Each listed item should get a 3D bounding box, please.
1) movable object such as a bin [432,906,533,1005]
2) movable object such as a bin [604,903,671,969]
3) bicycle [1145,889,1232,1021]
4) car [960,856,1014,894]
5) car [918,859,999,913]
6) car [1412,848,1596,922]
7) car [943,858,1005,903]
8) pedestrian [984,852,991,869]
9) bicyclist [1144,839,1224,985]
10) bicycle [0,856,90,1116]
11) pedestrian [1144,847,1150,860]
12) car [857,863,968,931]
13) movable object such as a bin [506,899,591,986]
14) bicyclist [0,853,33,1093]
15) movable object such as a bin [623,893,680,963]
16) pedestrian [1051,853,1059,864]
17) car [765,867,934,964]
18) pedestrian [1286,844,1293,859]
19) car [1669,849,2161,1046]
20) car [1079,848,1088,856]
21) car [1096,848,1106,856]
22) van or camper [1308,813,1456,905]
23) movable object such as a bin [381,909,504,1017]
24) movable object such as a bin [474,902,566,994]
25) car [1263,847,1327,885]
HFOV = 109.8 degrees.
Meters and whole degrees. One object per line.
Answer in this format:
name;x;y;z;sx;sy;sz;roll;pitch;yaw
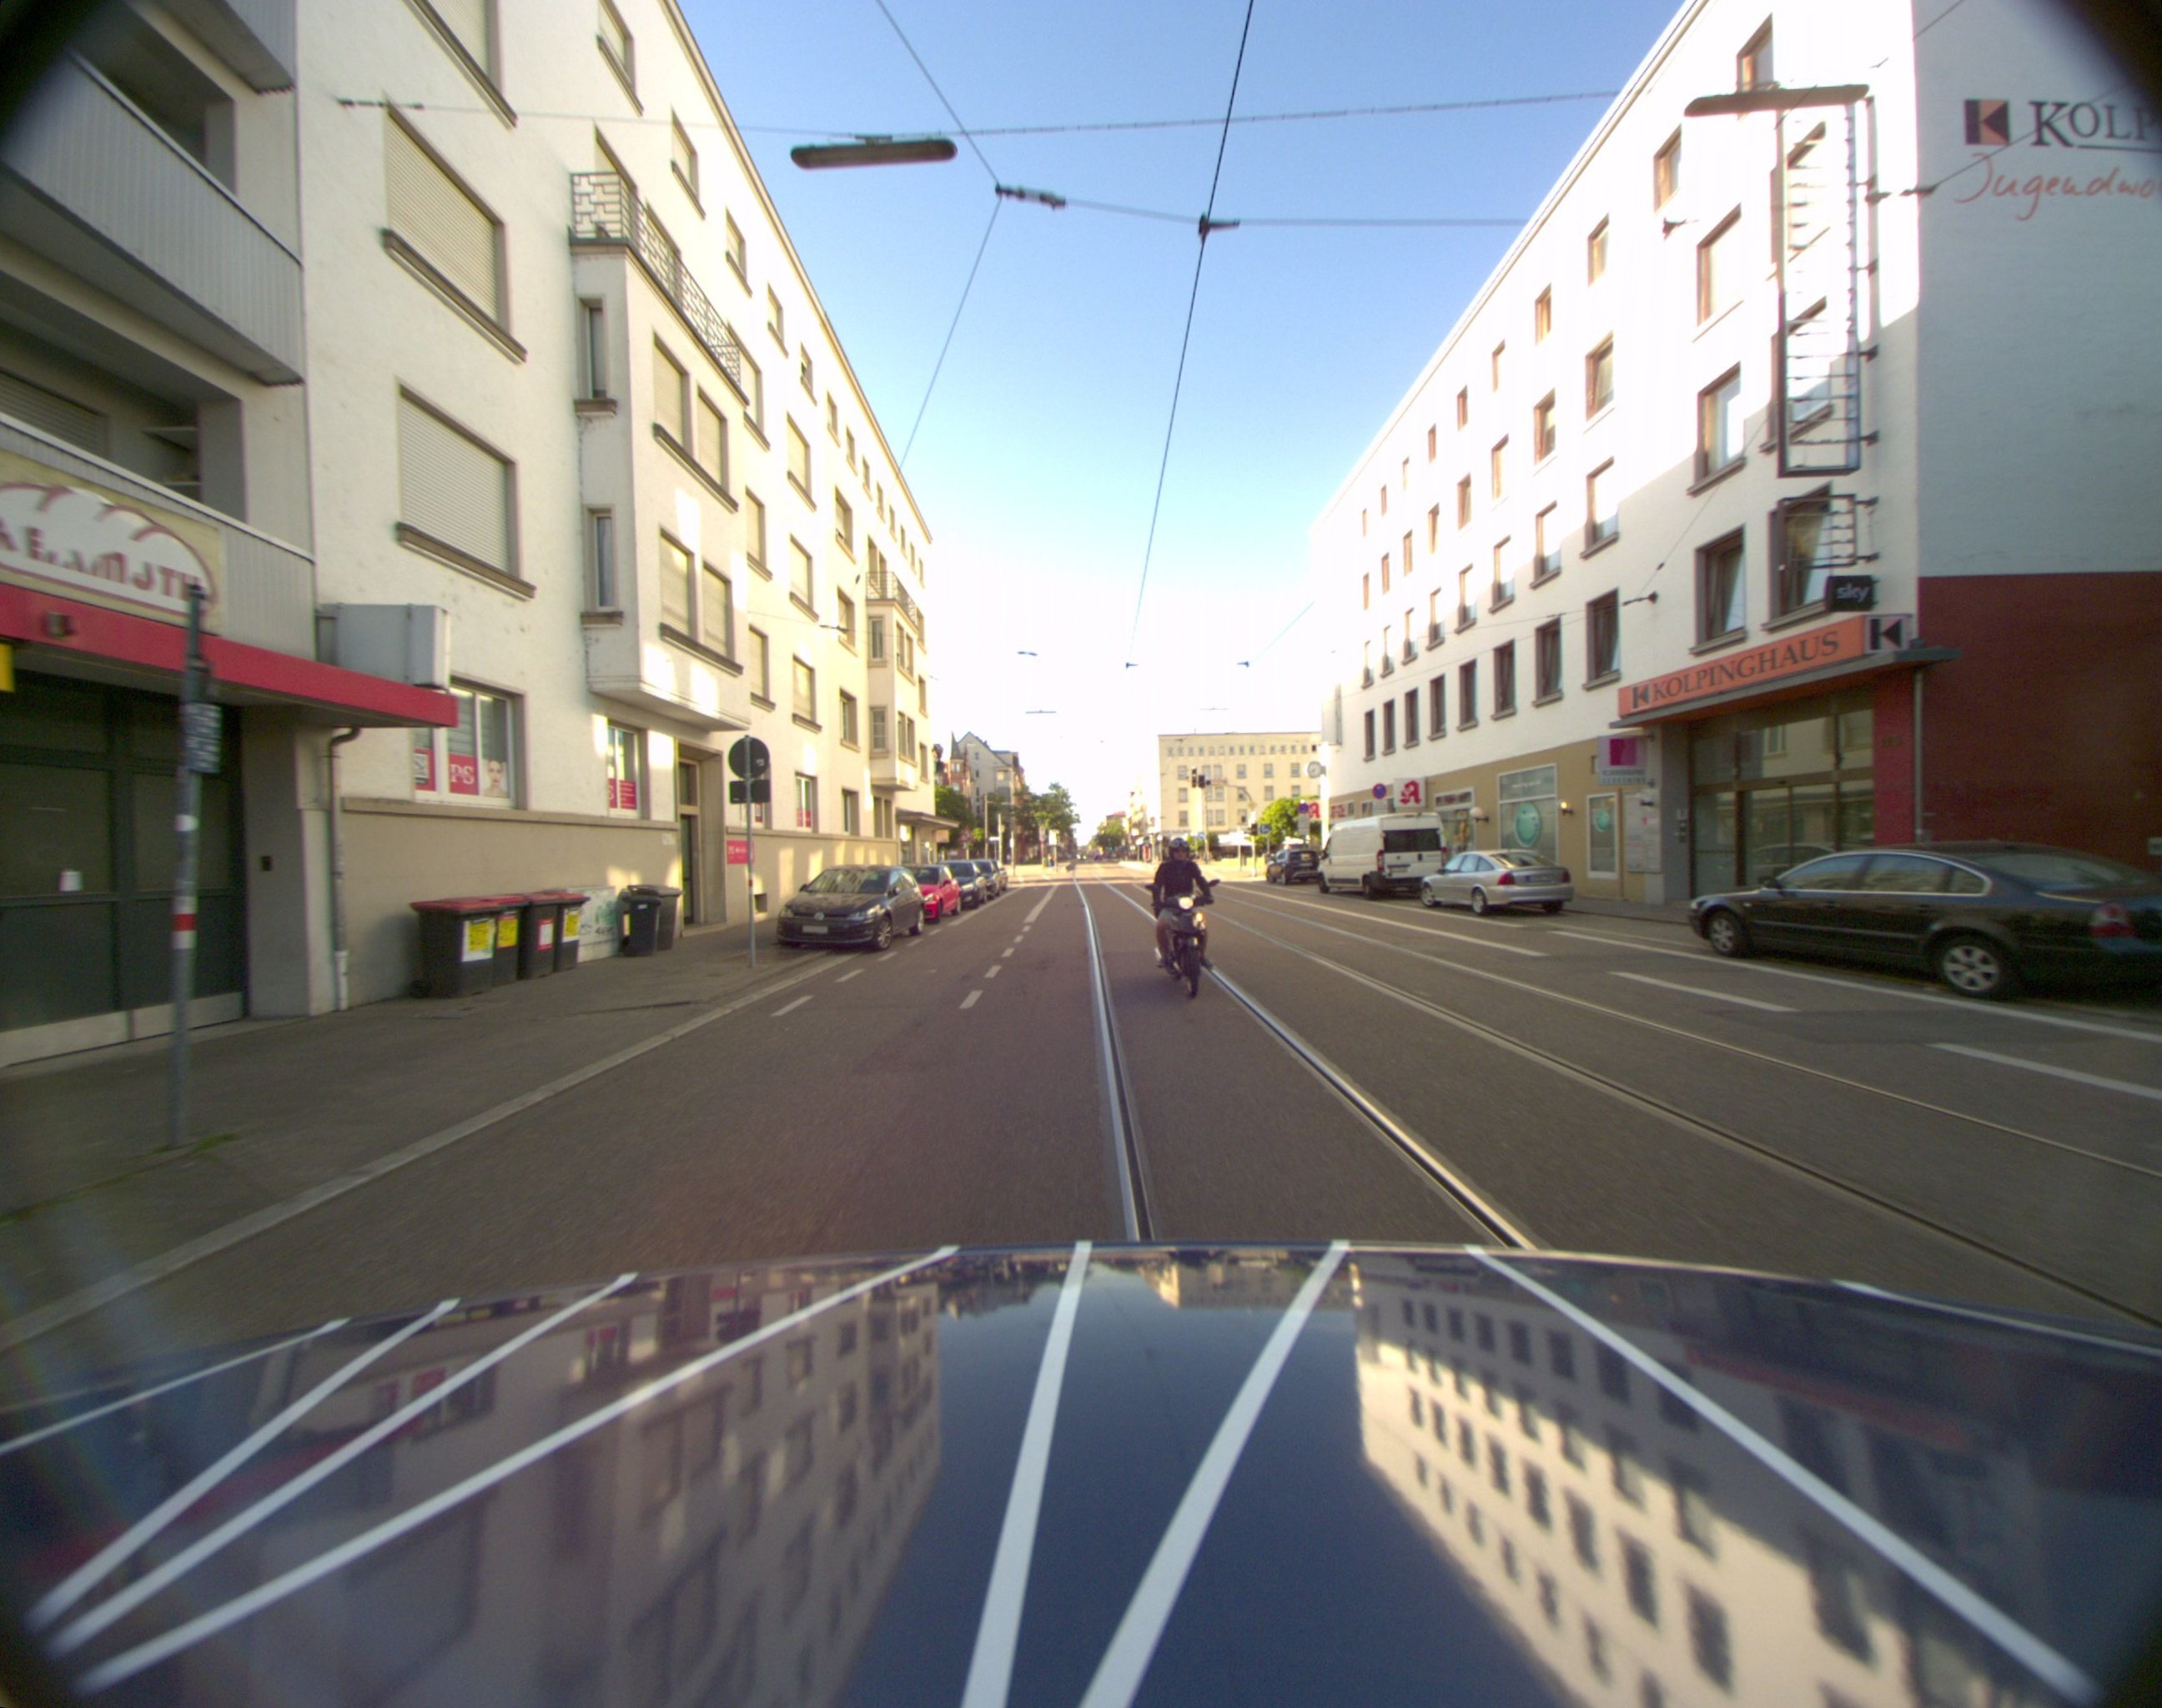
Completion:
movable object such as a bin;-7.000;1.168;8.911;0.677;1.066;0.569;-2;1;-1
movable object such as a bin;-6.725;1.237;11.545;0.657;0.911;0.569;-2;1;-1
bicycle;1.135;1.039;8.375;0.767;1.192;1.752;-1;1;3
car;-4.252;0.905;35.031;1.752;1.499;4.919;1;1;2
car;-3.890;0.978;24.751;1.862;1.499;4.095;1;1;2
car;9.440;0.602;17.451;1.787;1.390;4.445;-3;0;2
car;-4.021;0.958;29.279;1.862;1.499;4.505;1;1;-2
pedestrian;-10.779;0.750;87.317;0.650;1.944;0.583;-2;1;-16
bicyclist;1.130;0.608;8.499;0.774;1.531;0.939;-1;1;3
bicycle;-8.065;0.897;5.058;1.935;1.701;0.775;-2;1;3
pedestrian;7.762;-0.072;89.552;0.551;1.482;0.610;-1;1;-6
car;-4.190;1.012;19.546;1.862;1.464;3.988;1;1;2
movable object such as a bin;-7.039;1.161;10.068;0.677;1.066;0.569;-2;1;-1
bicyclist;-8.085;0.857;5.282;0.844;1.692;0.510;-2;1;4
movable object such as a bin;-6.889;1.171;12.198;0.560;1.051;0.554;-2;1;-1
pedestrian;-2.849;0.518;82.074;0.774;1.197;0.610;-2;1;-8
car;-4.100;1.007;14.228;1.714;1.399;4.358;1;1;2
pedestrian;22.591;-0.263;82.276;0.666;1.686;0.840;-1;1;11
car;9.257;0.732;8.416;1.788;1.472;4.699;-3;0;0
car;0.646;-0.457;174.162;1.971;1.577;4.000;-2;0;1
car;4.260;-0.404;160.429;1.970;1.577;4.000;-2;0;2
van or camper;9.406;0.124;24.513;2.177;2.453;6.231;-3;1;0
movable object such as a bin;-6.944;1.167;8.292;0.772;1.066;0.617;-2;1;-1
movable object such as a bin;-6.999;1.156;9.500;0.677;1.066;0.569;-2;1;-1
car;9.572;0.497;34.277;1.787;1.543;3.992;-3;1;2
